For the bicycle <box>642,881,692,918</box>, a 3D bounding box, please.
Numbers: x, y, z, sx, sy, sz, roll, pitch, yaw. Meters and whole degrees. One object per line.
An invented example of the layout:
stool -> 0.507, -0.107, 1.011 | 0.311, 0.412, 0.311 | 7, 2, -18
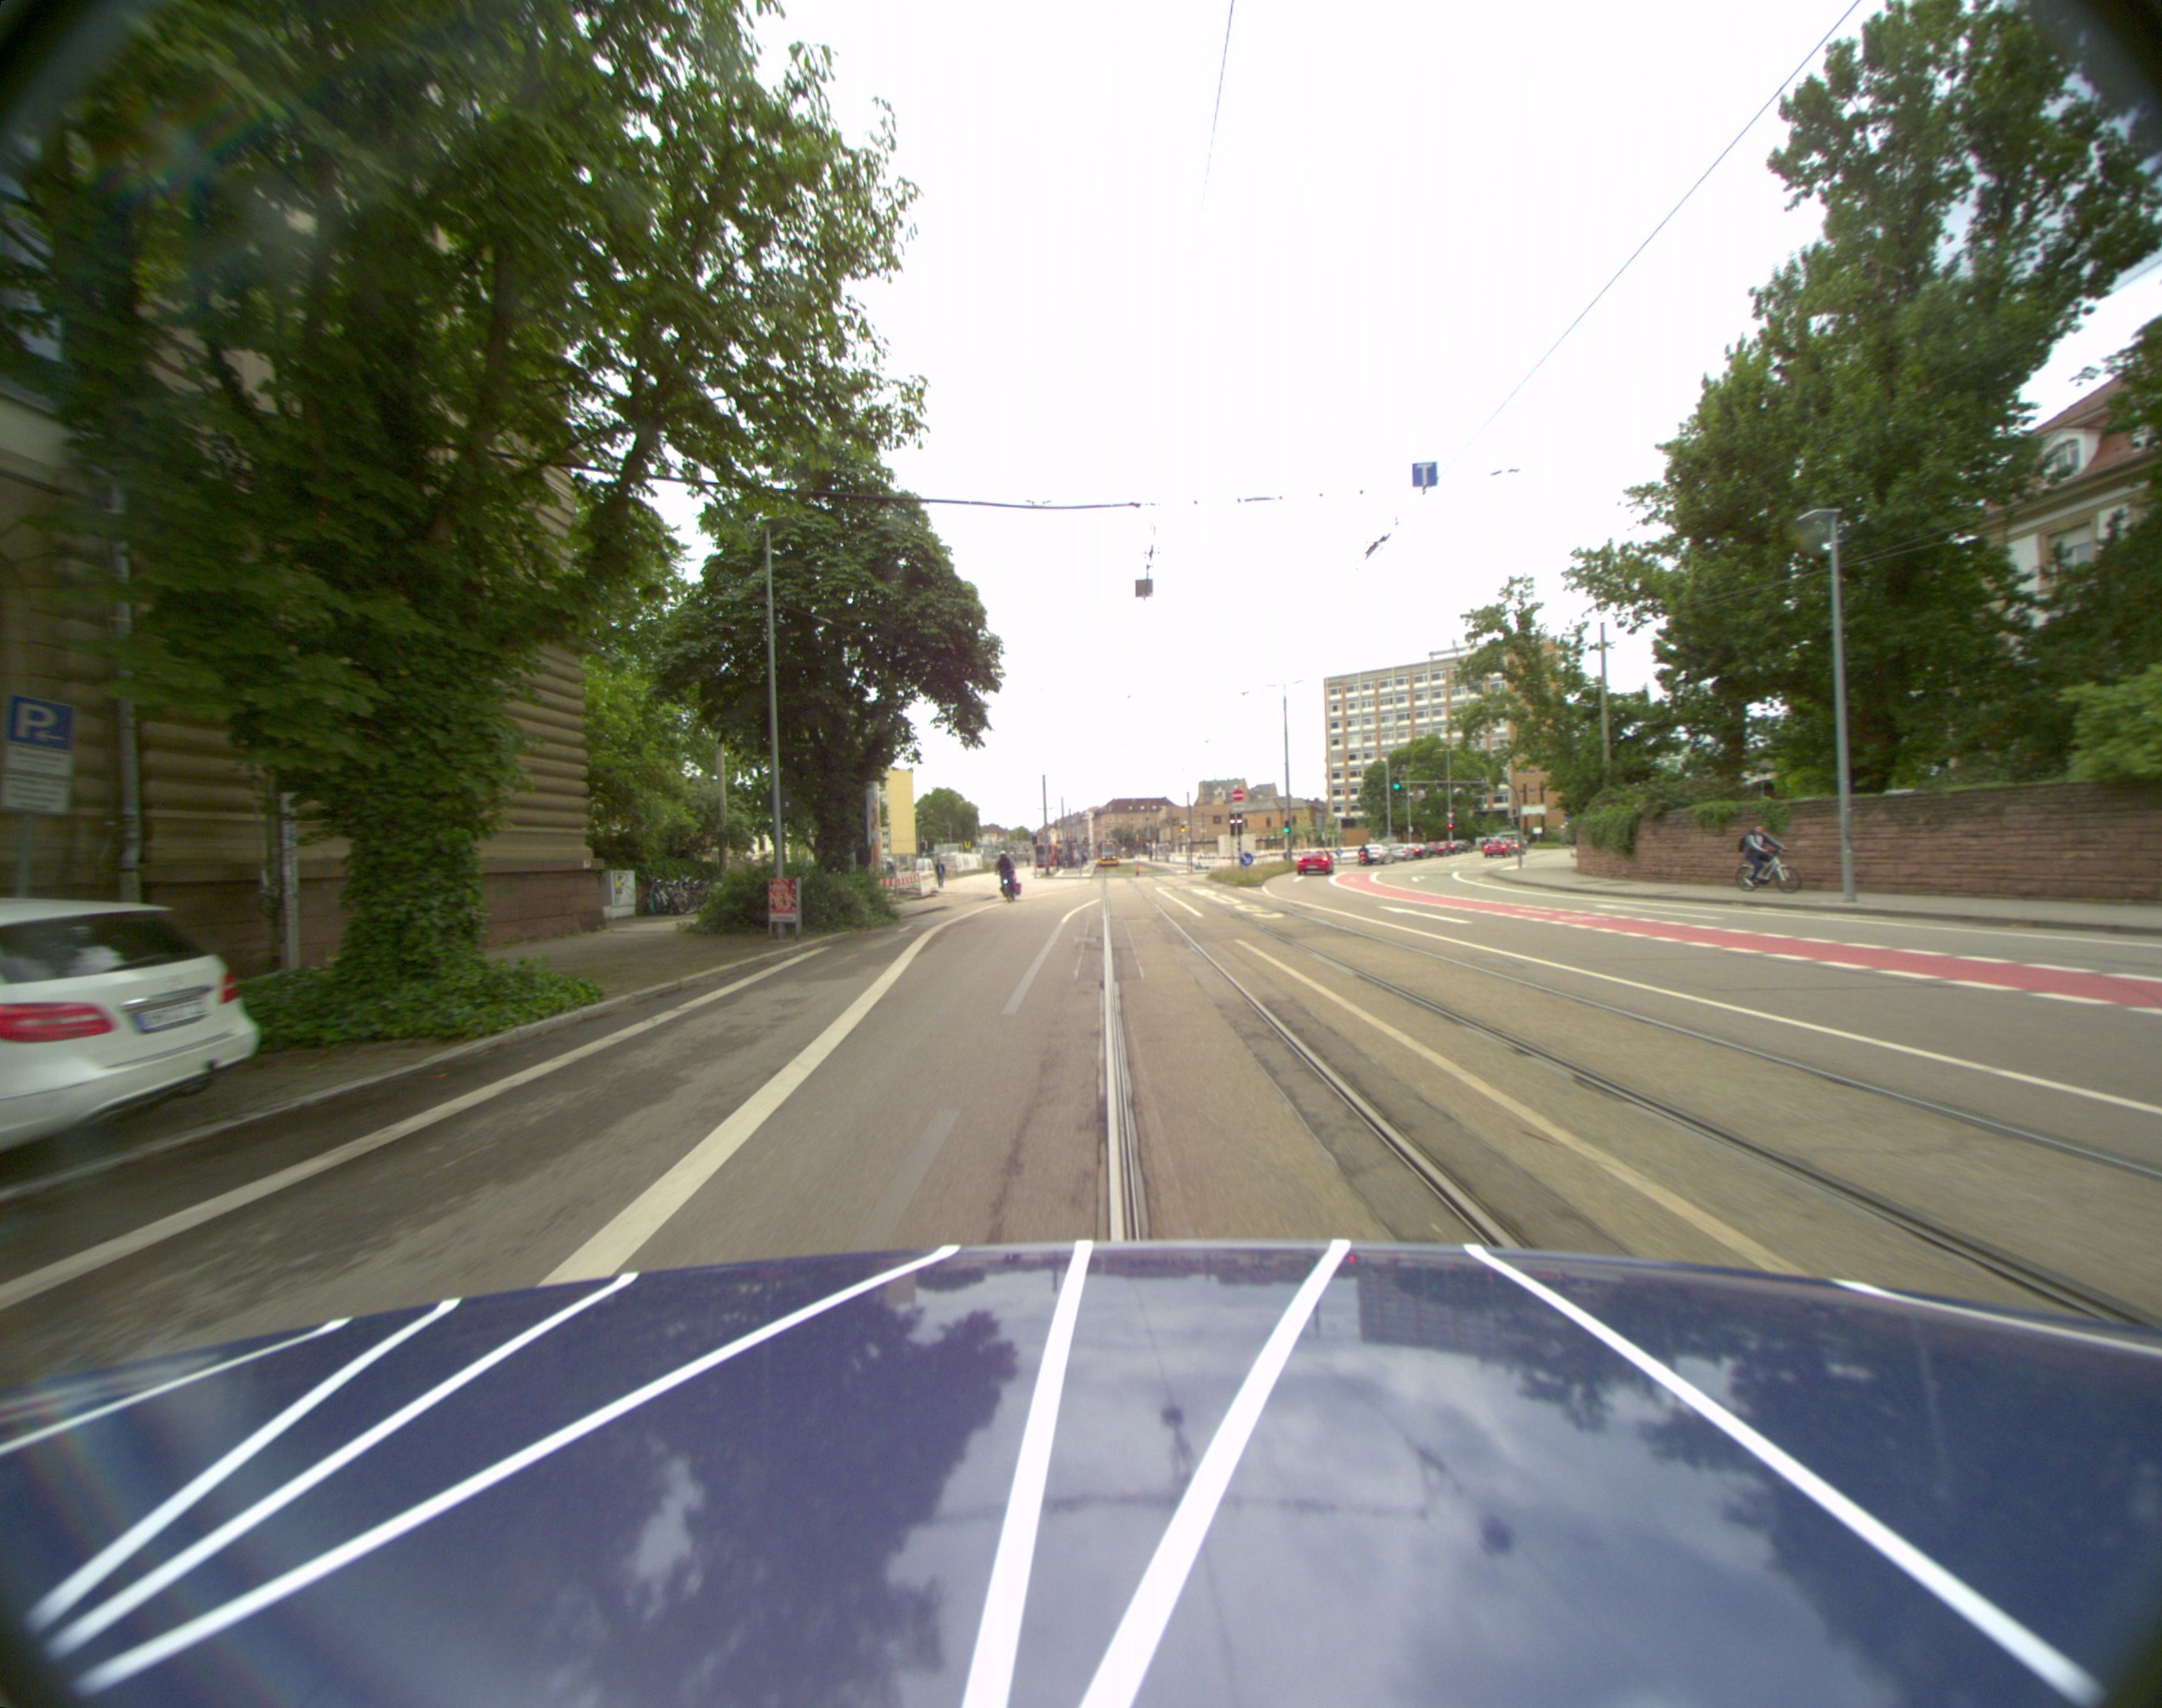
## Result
bicycle -> -13.302, 1.446, 24.411 | 1.382, 1.155, 0.425 | 0, 3, 5

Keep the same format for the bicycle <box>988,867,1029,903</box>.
bicycle -> -2.680, 1.147, 28.511 | 0.852, 1.234, 2.312 | -2, -1, 11

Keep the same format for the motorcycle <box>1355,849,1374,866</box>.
motorcycle -> 19.876, 0.225, 53.277 | 1.054, 1.063, 2.652 | -2, 0, 24

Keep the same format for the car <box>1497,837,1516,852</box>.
car -> 41.898, -0.915, 74.872 | 1.582, 1.390, 4.007 | -2, 1, 29

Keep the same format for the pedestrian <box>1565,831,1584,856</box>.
pedestrian -> 37.951, -0.806, 58.444 | 1.089, 1.829, 0.906 | -2, 1, 30

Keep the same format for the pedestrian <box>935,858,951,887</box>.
pedestrian -> -8.520, 1.144, 47.024 | 0.917, 1.699, 1.157 | -2, 1, -10

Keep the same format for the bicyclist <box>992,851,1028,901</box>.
bicyclist -> -2.651, 0.821, 28.572 | 0.881, 1.811, 1.480 | -2, -1, 11

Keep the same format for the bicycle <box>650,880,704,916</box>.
bicycle -> -13.301, 1.442, 25.052 | 1.523, 1.119, 0.476 | 0, 2, 4

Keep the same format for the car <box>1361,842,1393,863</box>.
car -> 22.222, -0.129, 56.990 | 1.491, 1.500, 3.476 | -1, 1, 35

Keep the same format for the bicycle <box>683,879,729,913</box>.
bicycle -> -13.099, 1.467, 26.540 | 1.341, 1.119, 0.476 | -2, 1, 4

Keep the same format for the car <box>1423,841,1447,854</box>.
car -> 33.804, -0.626, 72.576 | 1.420, 1.164, 3.077 | -2, 1, 38

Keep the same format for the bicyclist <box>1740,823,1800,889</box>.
bicyclist -> 18.059, 0.045, 19.937 | 0.776, 1.681, 0.869 | -2, 1, 2

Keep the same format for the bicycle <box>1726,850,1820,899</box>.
bicycle -> 18.079, 0.512, 19.909 | 0.776, 1.205, 1.869 | -2, 0, 2

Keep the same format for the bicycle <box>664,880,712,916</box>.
bicycle -> -13.196, 1.479, 25.523 | 1.341, 1.119, 0.476 | -2, 1, 4

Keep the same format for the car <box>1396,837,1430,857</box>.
car -> 29.612, -0.623, 67.746 | 1.782, 1.602, 4.332 | -2, 1, 36

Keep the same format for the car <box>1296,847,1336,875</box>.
car -> 13.405, 0.355, 43.200 | 1.757, 1.490, 4.006 | 0, 1, 24

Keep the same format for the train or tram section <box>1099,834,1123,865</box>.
train or tram section -> 3.723, -0.557, 95.869 | 2.631, 3.660, 5.984 | -2, 1, 0

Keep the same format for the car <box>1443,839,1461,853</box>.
car -> 38.269, -0.820, 78.421 | 1.412, 1.324, 3.316 | -2, 1, 30

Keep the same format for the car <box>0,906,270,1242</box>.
car -> -7.485, 1.162, 3.800 | 4.330, 1.542, 1.747 | -1, 0, -21

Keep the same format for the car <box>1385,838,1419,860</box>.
car -> 26.708, -0.444, 63.100 | 1.682, 1.641, 3.988 | -2, 1, 36

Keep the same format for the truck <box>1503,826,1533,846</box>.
truck -> 70.675, -2.968, 122.781 | 3.485, 2.962, 7.627 | -2, 1, 34

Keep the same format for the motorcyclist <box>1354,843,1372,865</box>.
motorcyclist -> 20.095, -0.006, 54.064 | 1.074, 1.477, 1.253 | -2, 1, 24

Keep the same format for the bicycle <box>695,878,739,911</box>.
bicycle -> -13.058, 1.460, 27.268 | 1.341, 1.119, 0.476 | -2, 1, 4

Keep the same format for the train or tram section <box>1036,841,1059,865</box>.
train or tram section -> -4.234, -0.150, 96.001 | 2.609, 2.936, 4.965 | -2, 1, 0

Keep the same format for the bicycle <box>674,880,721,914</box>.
bicycle -> -13.128, 1.472, 26.044 | 1.341, 1.119, 0.476 | -2, 1, 4

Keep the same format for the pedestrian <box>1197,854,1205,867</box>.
pedestrian -> 9.481, 0.510, 60.143 | 0.544, 1.050, 0.638 | -2, 1, 10

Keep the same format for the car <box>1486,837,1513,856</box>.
car -> 37.580, -0.718, 68.180 | 1.828, 1.573, 4.007 | -2, 1, 34
